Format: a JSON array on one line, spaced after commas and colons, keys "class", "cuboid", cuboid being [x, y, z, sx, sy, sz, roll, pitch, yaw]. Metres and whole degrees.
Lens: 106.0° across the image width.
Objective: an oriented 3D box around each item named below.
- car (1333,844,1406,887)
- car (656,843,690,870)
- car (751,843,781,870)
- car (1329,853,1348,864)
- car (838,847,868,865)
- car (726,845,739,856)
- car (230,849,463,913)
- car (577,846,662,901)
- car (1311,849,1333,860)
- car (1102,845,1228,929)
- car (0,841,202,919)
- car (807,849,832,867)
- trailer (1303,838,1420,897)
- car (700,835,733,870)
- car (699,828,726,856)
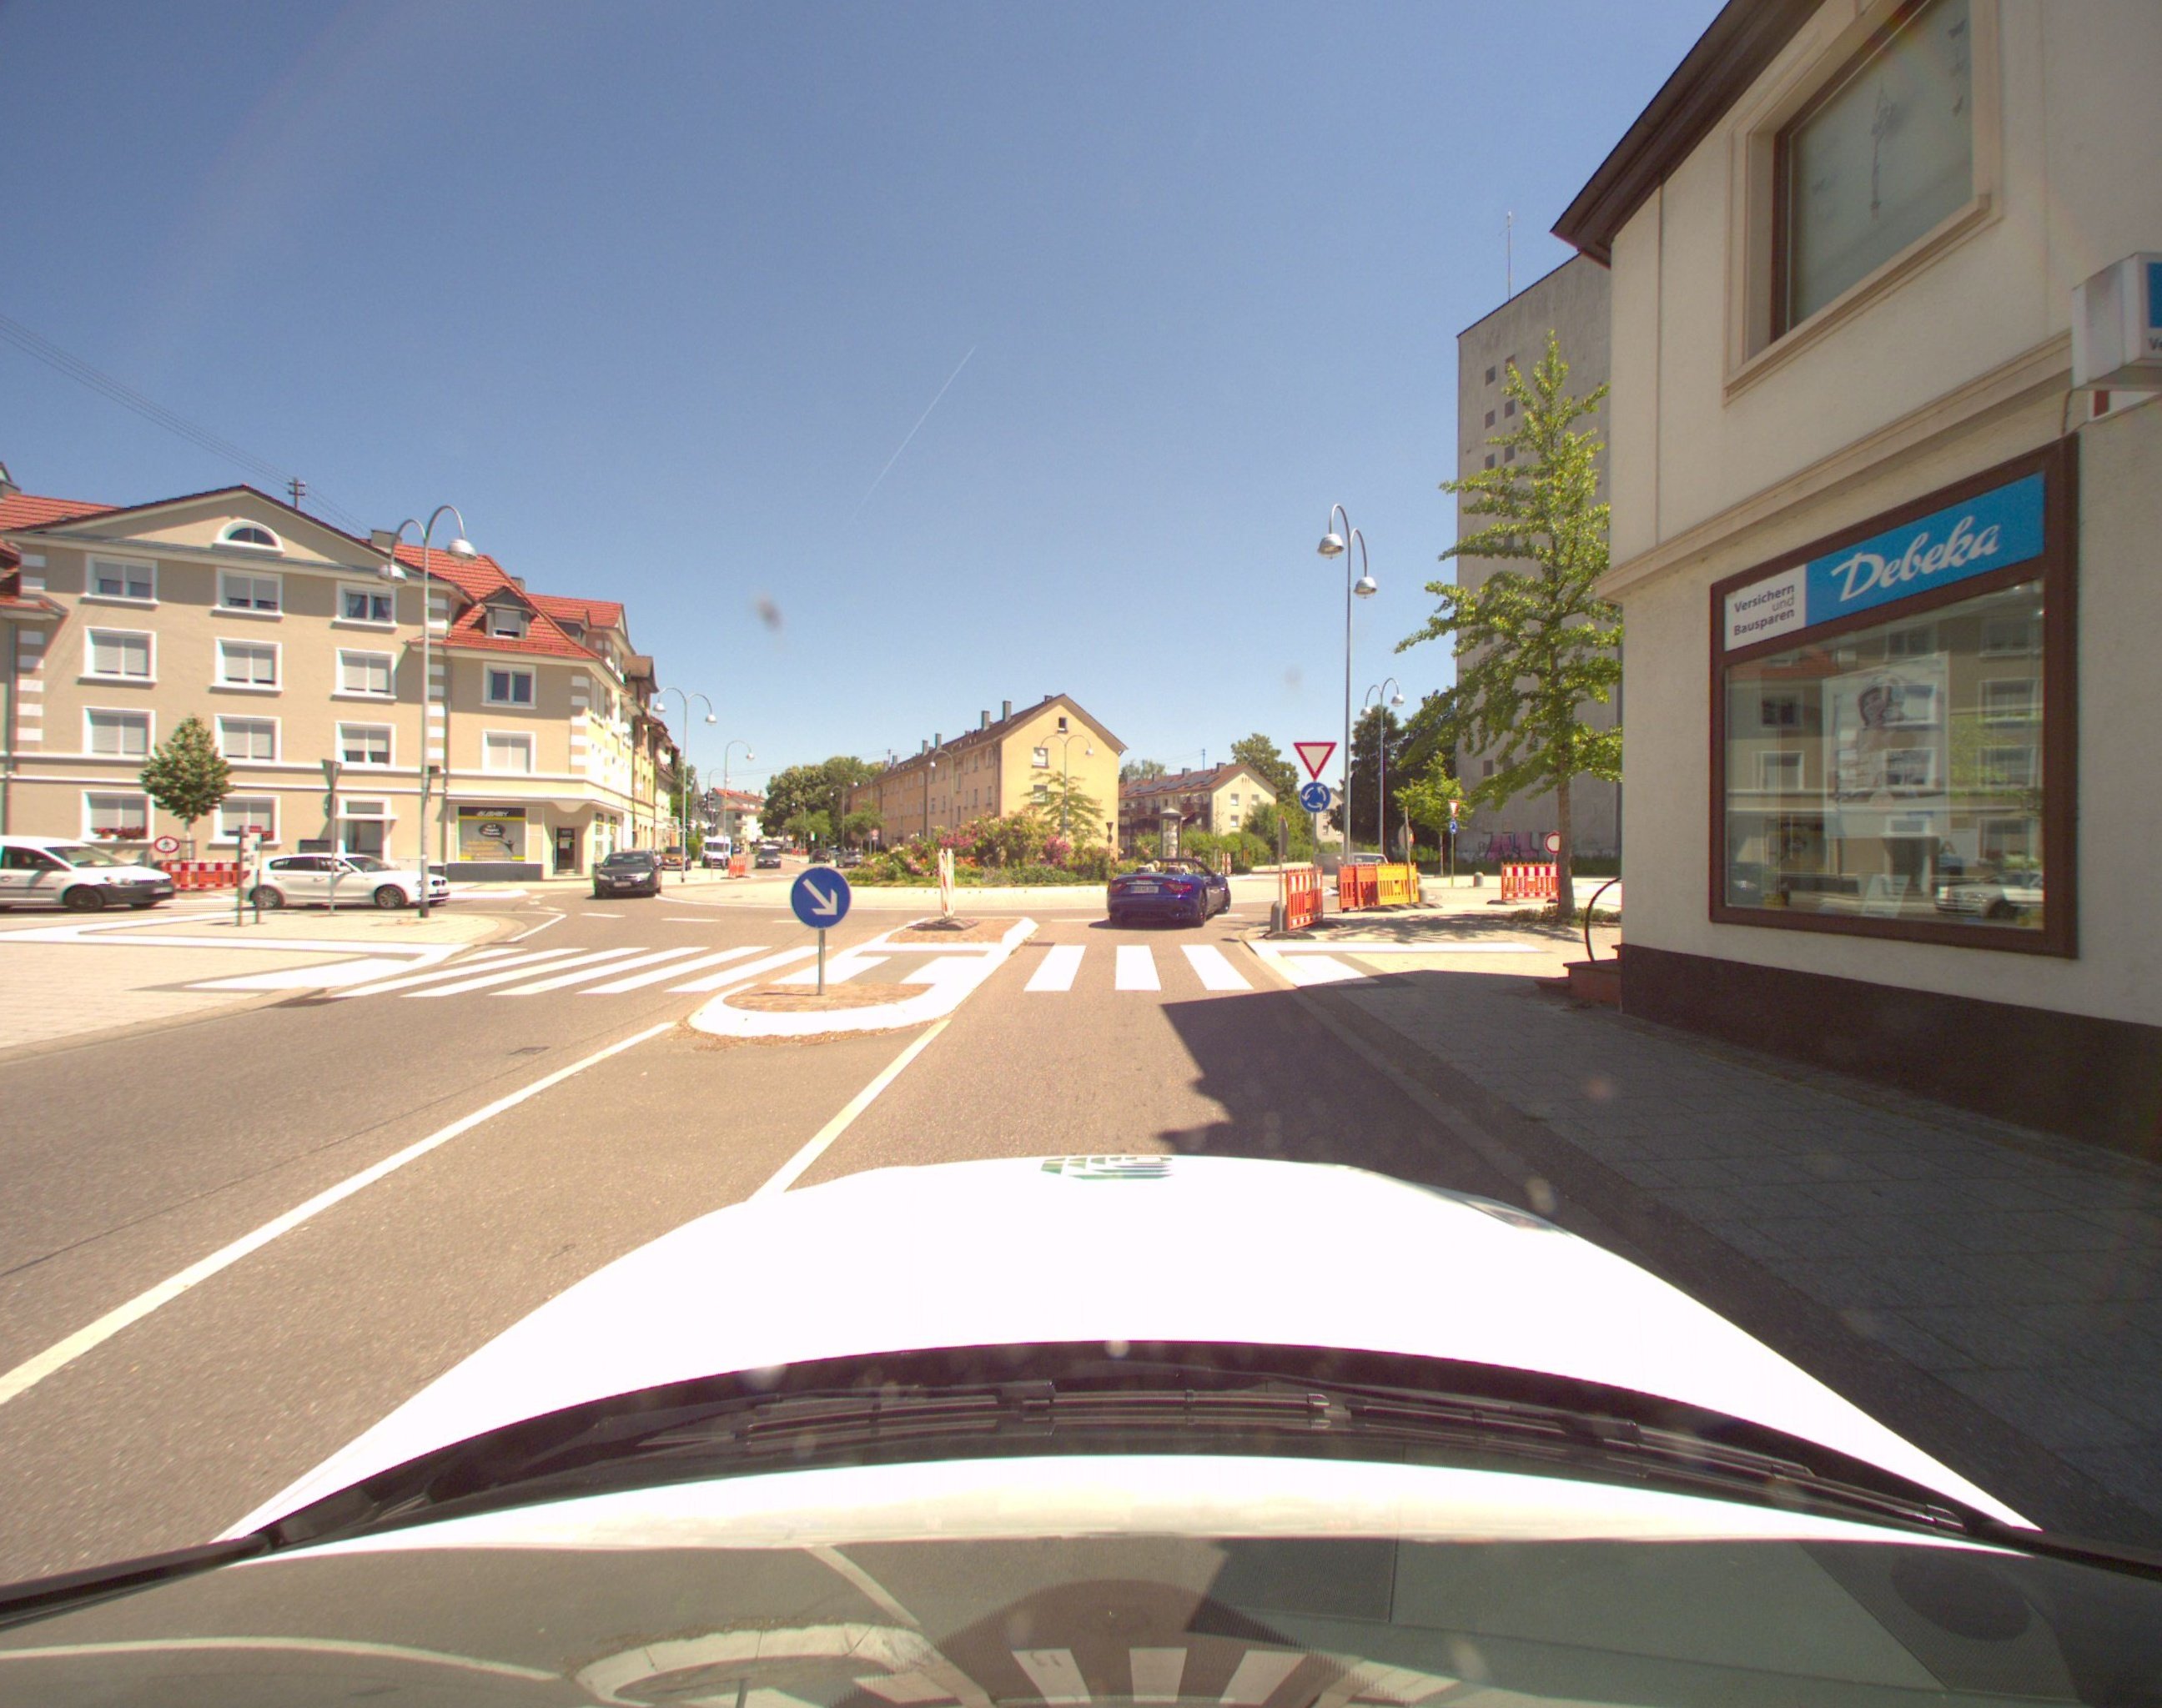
[{"class": "car", "cuboid": [10.572, 0.404, 30.107, 1.730, 1.436, 3.717, -1, 0, 6]}, {"class": "car", "cuboid": [-26.667, 0.171, 53.307, 1.605, 1.617, 4.061, 3, -1, -22]}, {"class": "car", "cuboid": [-25.006, 0.199, 64.762, 2.000, 2.014, 3.974, 2, -1, -20]}, {"class": "car", "cuboid": [36.984, 0.614, 117.039, 1.722, 1.436, 3.734, -1, 0, 32]}, {"class": "car", "cuboid": [-20.395, 0.196, 72.710, 1.822, 1.500, 3.964, 2, -1, -27]}, {"class": "car", "cuboid": [-62.451, -0.643, 146.031, 1.822, 1.794, 3.964, 2, -1, -27]}, {"class": "car", "cuboid": [-18.856, 0.654, 21.103, 4.117, 1.551, 1.780, 0, 0, -11]}, {"class": "car", "cuboid": [-14.734, 0.548, 25.898, 1.673, 1.452, 3.977, -2, 3, -39]}, {"class": "car", "cuboid": [31.431, 0.060, 106.167, 1.722, 1.436, 3.734, -1, 0, 32]}, {"class": "car", "cuboid": [1.947, 0.655, 17.425, 1.856, 1.530, 4.526, 0, -1, 17]}, {"class": "car", "cuboid": [-24.532, 0.591, 19.591, 4.240, 1.777, 1.771, 1, 0, -17]}, {"class": "car", "cuboid": [-28.002, 0.419, 87.115, 1.822, 1.794, 3.964, 2, -1, -27]}, {"class": "trailer", "cuboid": [8.779, 0.395, 25.508, 3.206, 1.717, 1.741, -1, 0, -28]}, {"class": "car", "cuboid": [-28.481, -0.114, 63.596, 2.154, 2.533, 6.187, 2, -1, -24]}, {"class": "car", "cuboid": [-35.537, -1.127, 78.581, 2.154, 2.533, 4.816, 2, -1, -24]}]
